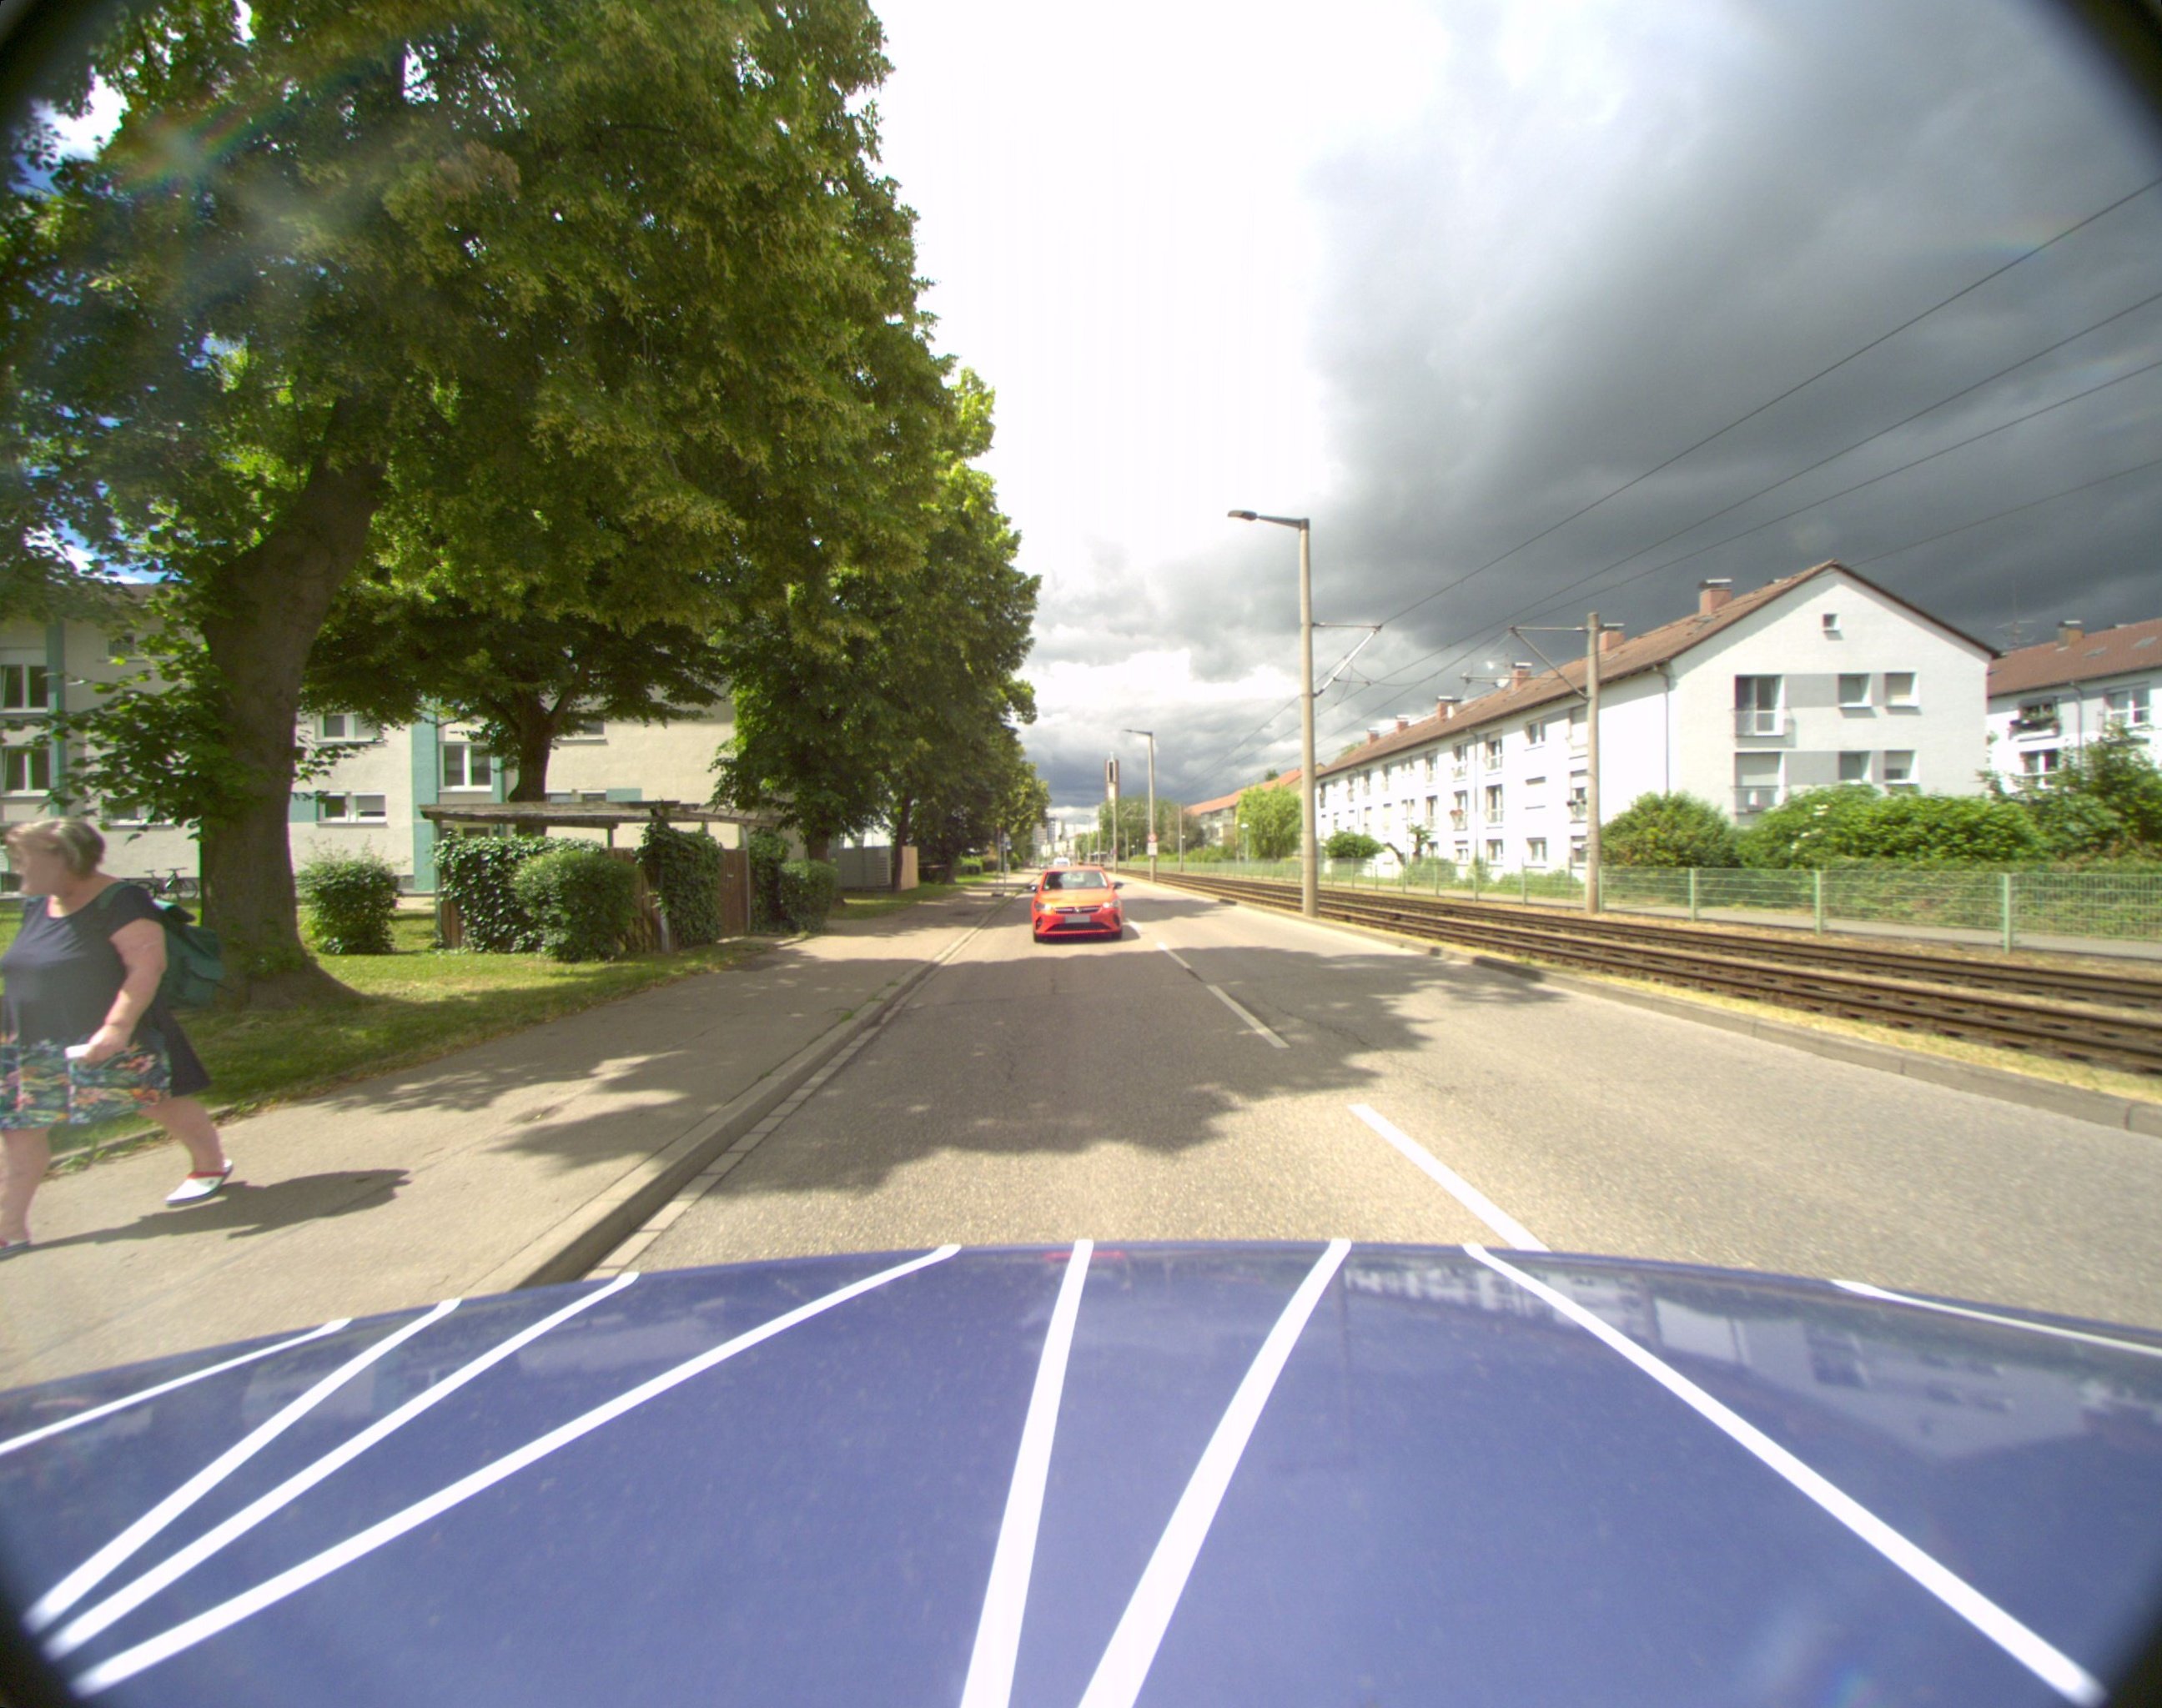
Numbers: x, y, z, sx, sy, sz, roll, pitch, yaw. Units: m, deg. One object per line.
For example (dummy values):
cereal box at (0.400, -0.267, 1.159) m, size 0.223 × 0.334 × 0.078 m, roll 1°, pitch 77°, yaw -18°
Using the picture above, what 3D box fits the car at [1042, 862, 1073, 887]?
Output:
car at (-1.479, 1.206, 46.416) m, size 1.764 × 1.389 × 3.999 m, roll 0°, pitch 0°, yaw -3°

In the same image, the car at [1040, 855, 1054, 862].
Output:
car at (-6.395, 0.903, 143.662) m, size 1.917 × 1.309 × 4.002 m, roll 0°, pitch 0°, yaw 6°

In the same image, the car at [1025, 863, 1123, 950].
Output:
car at (-0.085, 0.978, 15.802) m, size 1.765 × 1.548 × 4.001 m, roll -1°, pitch -1°, yaw 1°

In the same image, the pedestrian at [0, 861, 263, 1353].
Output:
pedestrian at (-3.950, 0.863, 2.935) m, size 0.684 × 1.650 × 0.831 m, roll -1°, pitch -1°, yaw -7°

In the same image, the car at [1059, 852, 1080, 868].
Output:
car at (-1.175, 0.641, 79.128) m, size 1.999 × 1.598 × 3.999 m, roll 0°, pitch 0°, yaw -4°
